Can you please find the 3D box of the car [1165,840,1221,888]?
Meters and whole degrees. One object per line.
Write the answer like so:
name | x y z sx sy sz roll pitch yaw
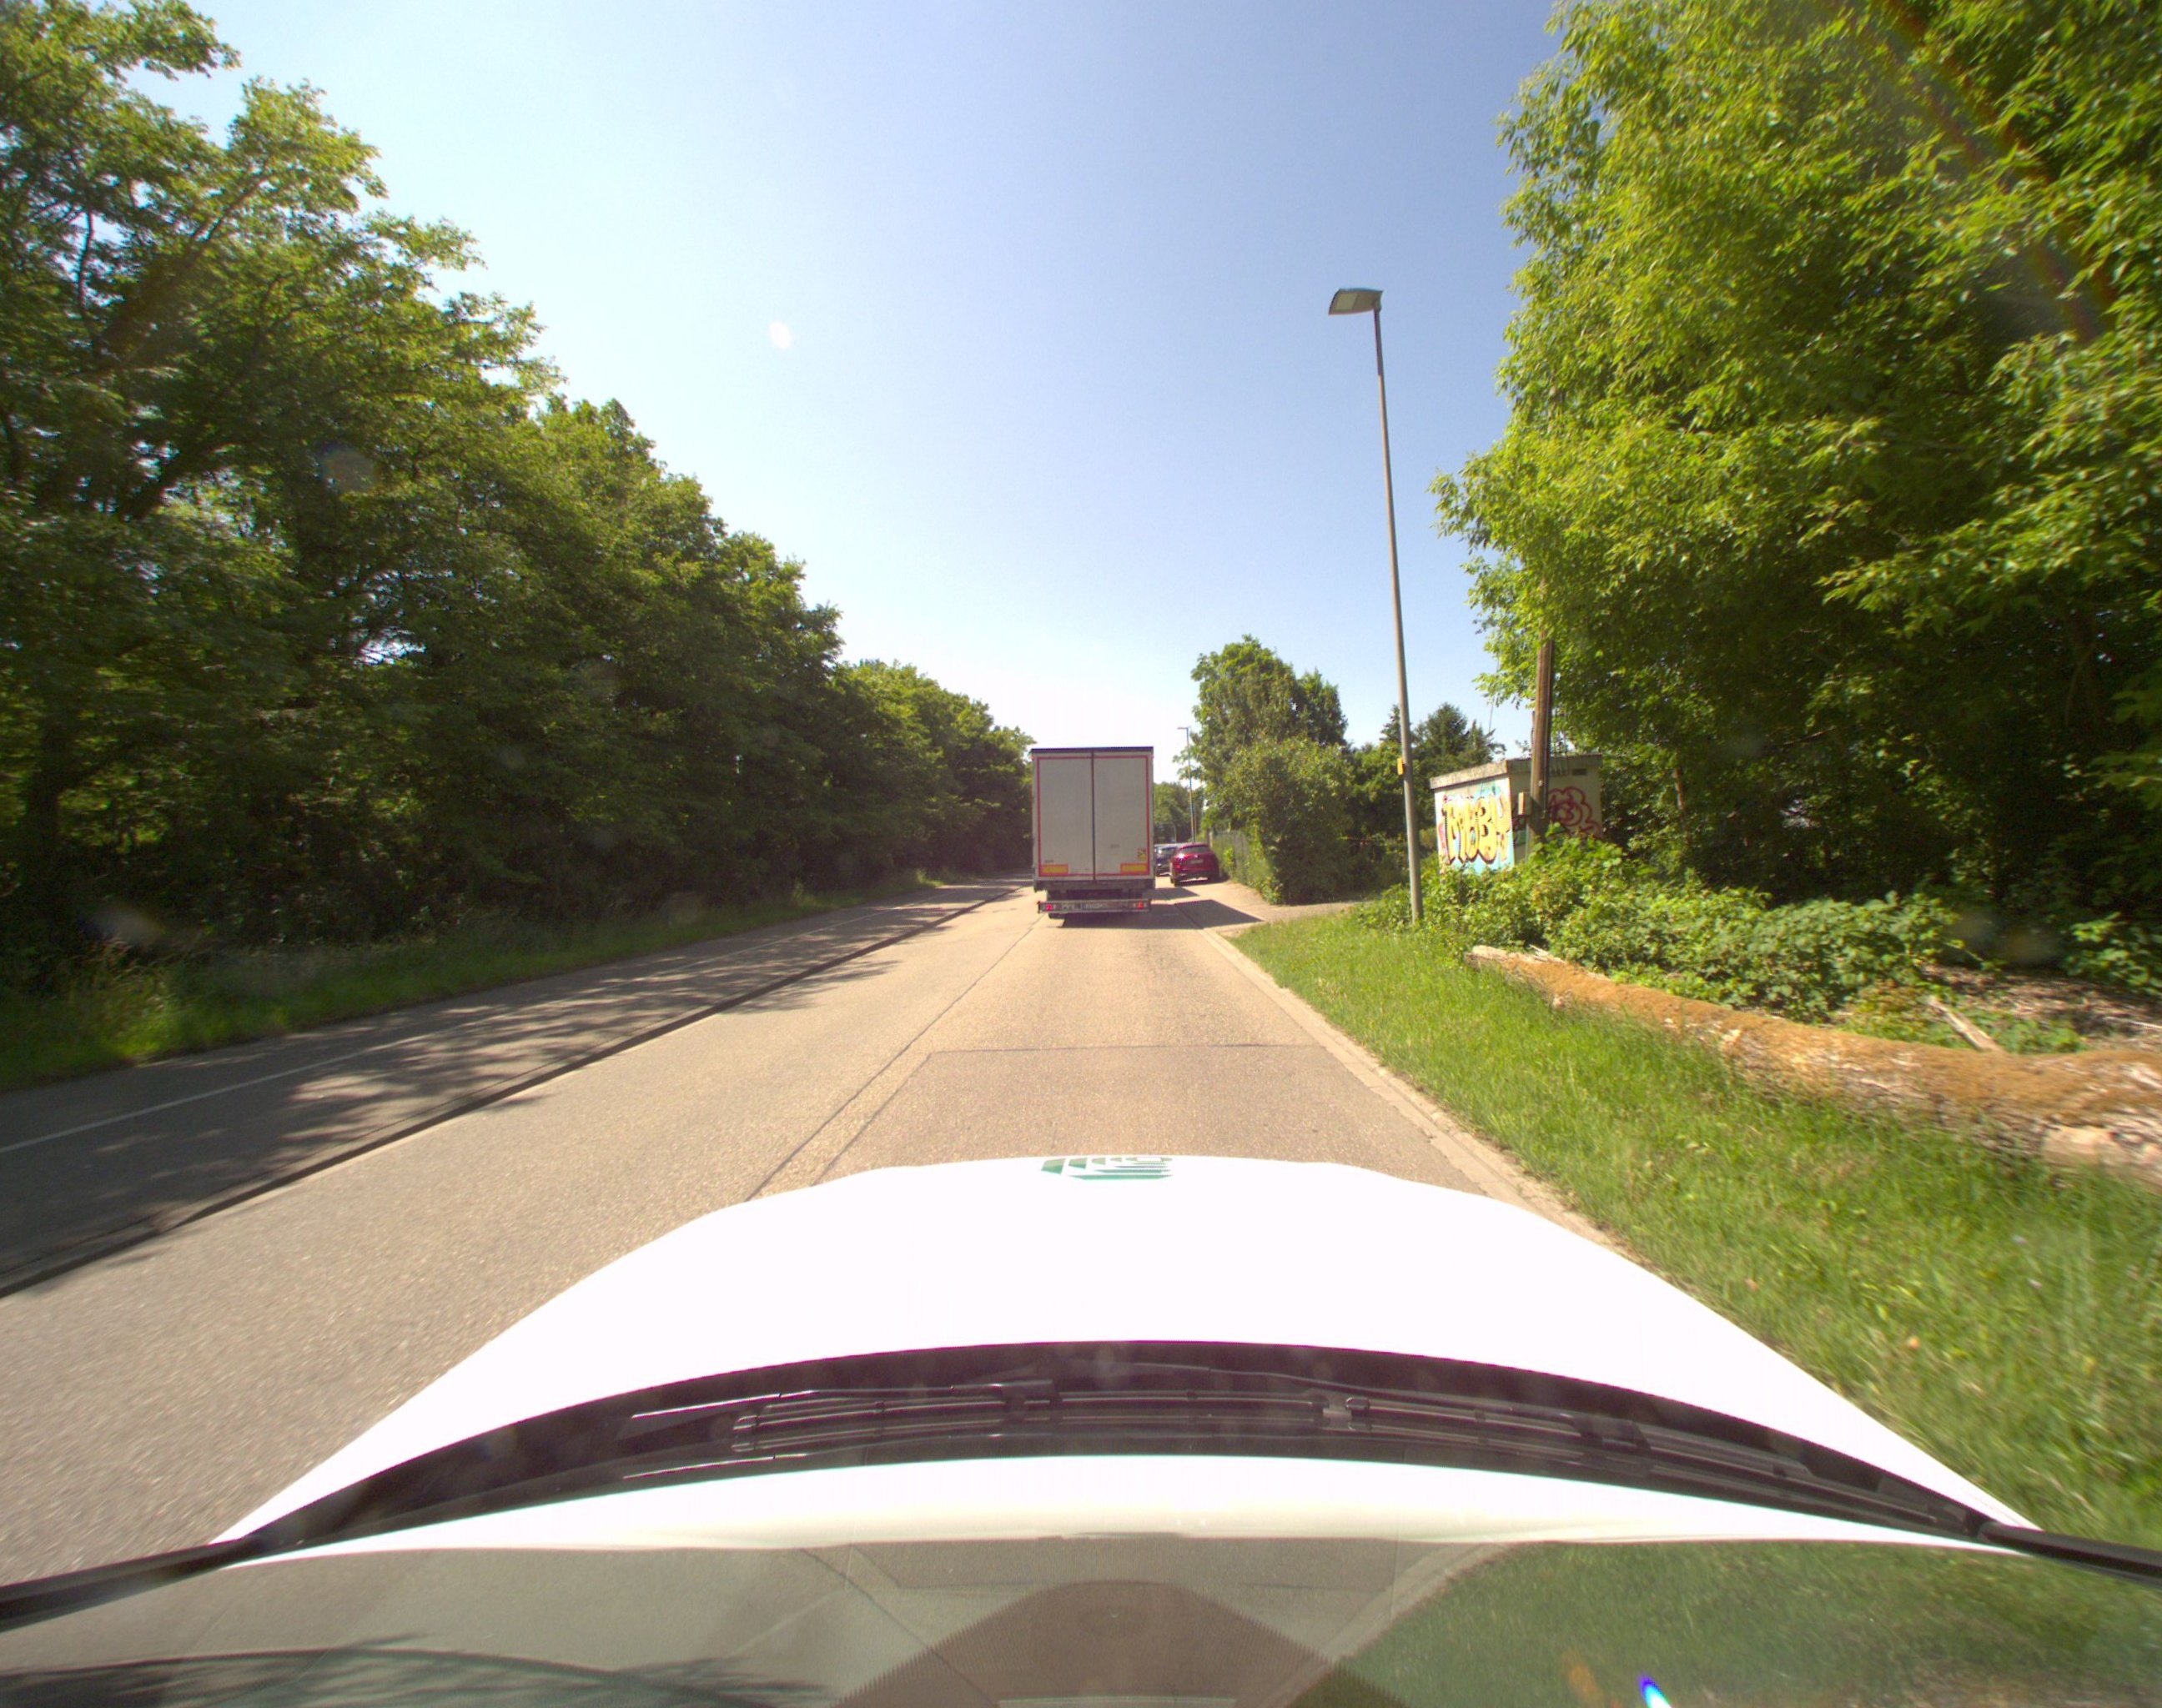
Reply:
car | 4.571 0.362 33.722 1.782 1.658 4.456 -7 0 3

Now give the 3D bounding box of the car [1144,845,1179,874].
car | 4.908 0.300 50.037 1.782 1.481 4.669 -7 0 3

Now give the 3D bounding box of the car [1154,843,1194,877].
car | 4.951 0.278 43.854 1.782 1.603 4.133 -4 1 3

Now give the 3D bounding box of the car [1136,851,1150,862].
car | 9.102 0.413 119.500 1.771 1.486 4.010 -2 0 8

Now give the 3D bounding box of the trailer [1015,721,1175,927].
trailer | 0.429 -0.632 22.558 3.101 4.102 11.540 -3 0 1

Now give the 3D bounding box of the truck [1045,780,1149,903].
truck | 0.547 -0.418 28.804 3.103 3.725 6.414 -3 0 1
